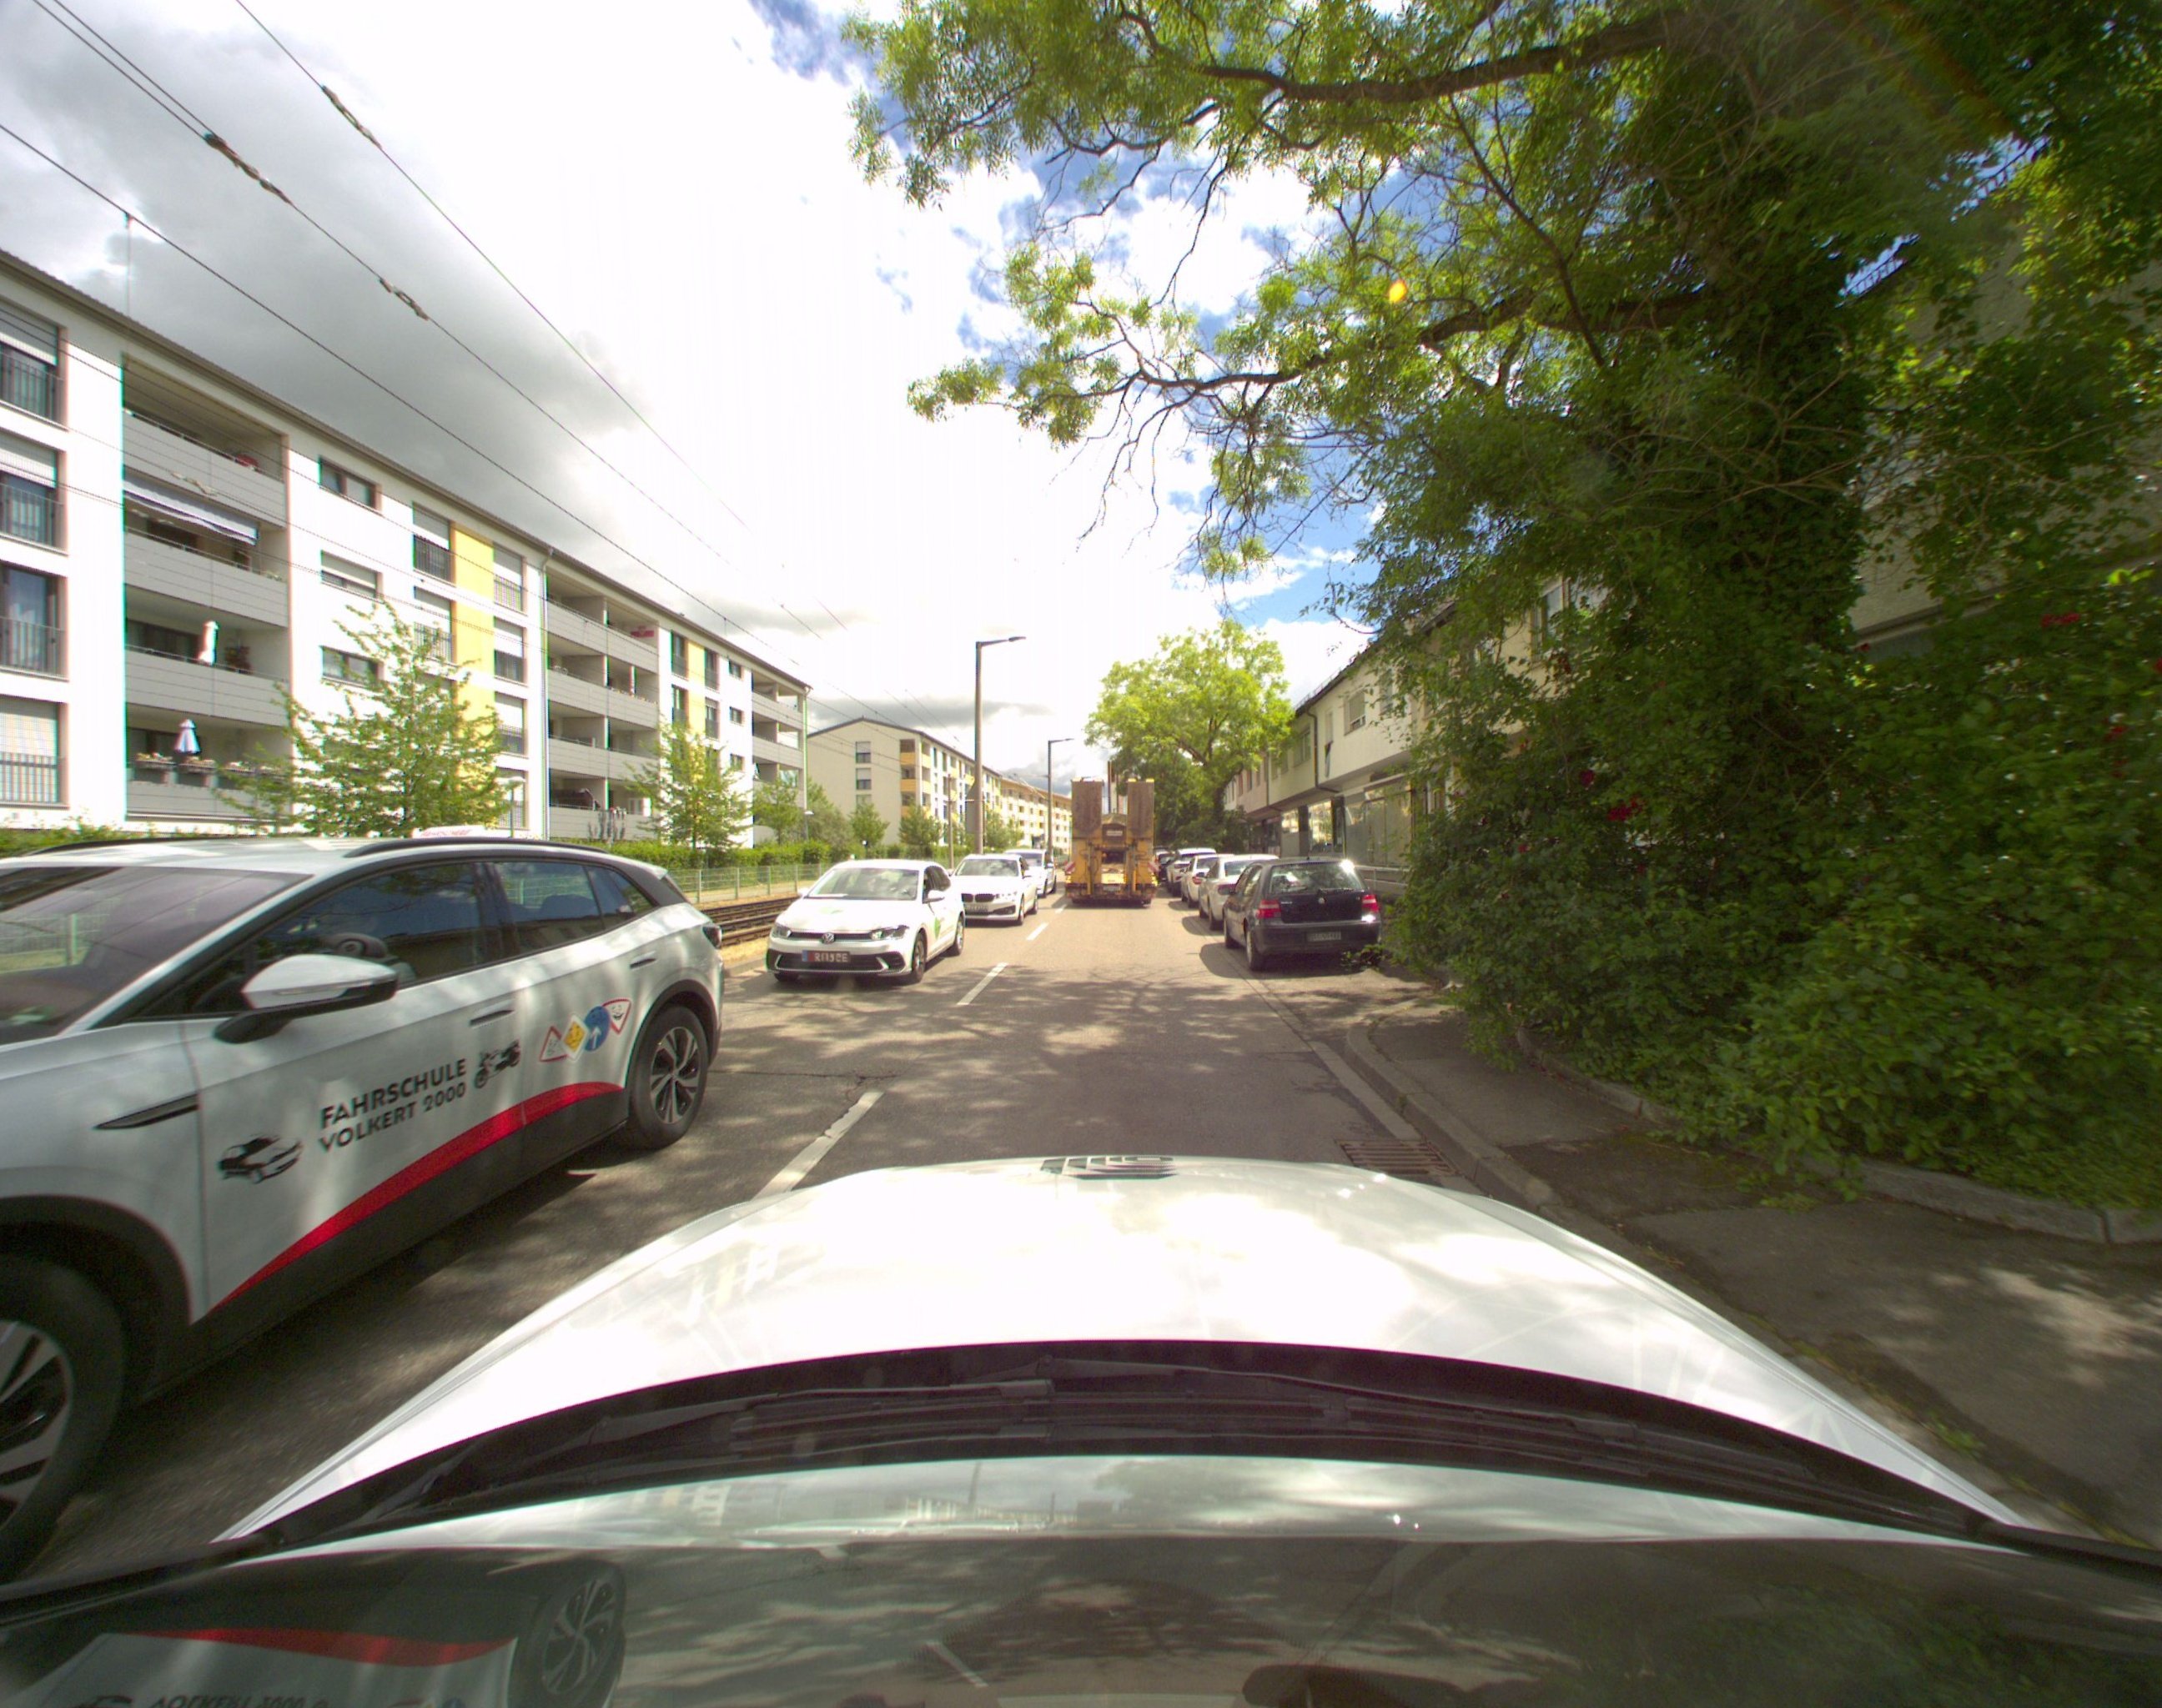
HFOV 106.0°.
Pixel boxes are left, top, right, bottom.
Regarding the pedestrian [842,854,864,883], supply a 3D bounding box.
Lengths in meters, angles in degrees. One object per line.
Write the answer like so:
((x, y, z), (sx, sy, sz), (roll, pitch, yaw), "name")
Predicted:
((-11.707, 0.740, 41.812), (0.793, 1.483, 0.996), (0, 0, 2), "pedestrian")

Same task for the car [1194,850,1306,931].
((3.479, 0.671, 17.596), (1.805, 1.498, 4.918), (-1, 0, 5), "car")

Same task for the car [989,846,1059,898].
((-1.858, 0.568, 27.985), (1.810, 1.613, 4.605), (1, 0, 3), "car")

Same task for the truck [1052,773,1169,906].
((1.088, -0.415, 28.049), (3.111, 3.564, 12.468), (0, 0, 3), "truck")

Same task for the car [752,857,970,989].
((-2.671, 0.759, 10.859), (1.740, 1.406, 3.941), (-1, 0, 1), "car")

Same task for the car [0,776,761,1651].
((-2.994, 0.698, 2.916), (1.851, 1.690, 4.434), (-1, 0, 1), "car")

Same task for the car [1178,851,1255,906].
((3.812, 0.641, 23.530), (1.717, 1.426, 4.450), (-1, 0, 3), "car")

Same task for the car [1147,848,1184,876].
((4.821, 0.462, 47.010), (1.765, 1.442, 3.900), (-3, 0, 1), "car")

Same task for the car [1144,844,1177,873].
((5.217, 0.260, 53.617), (2.006, 1.788, 5.082), (-1, 0, 5), "car")

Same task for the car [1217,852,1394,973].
((3.071, 0.713, 11.980), (1.805, 1.463, 4.046), (-1, 0, 5), "car")

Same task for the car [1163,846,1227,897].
((3.942, 0.558, 28.884), (1.830, 1.643, 4.432), (0, 0, 2), "car")

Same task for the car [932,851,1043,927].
((-1.993, 0.706, 18.815), (1.810, 1.502, 4.839), (1, 0, 2), "car")

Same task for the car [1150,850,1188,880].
((4.529, 0.525, 41.719), (1.762, 1.349, 4.008), (-3, 0, 7), "car")
